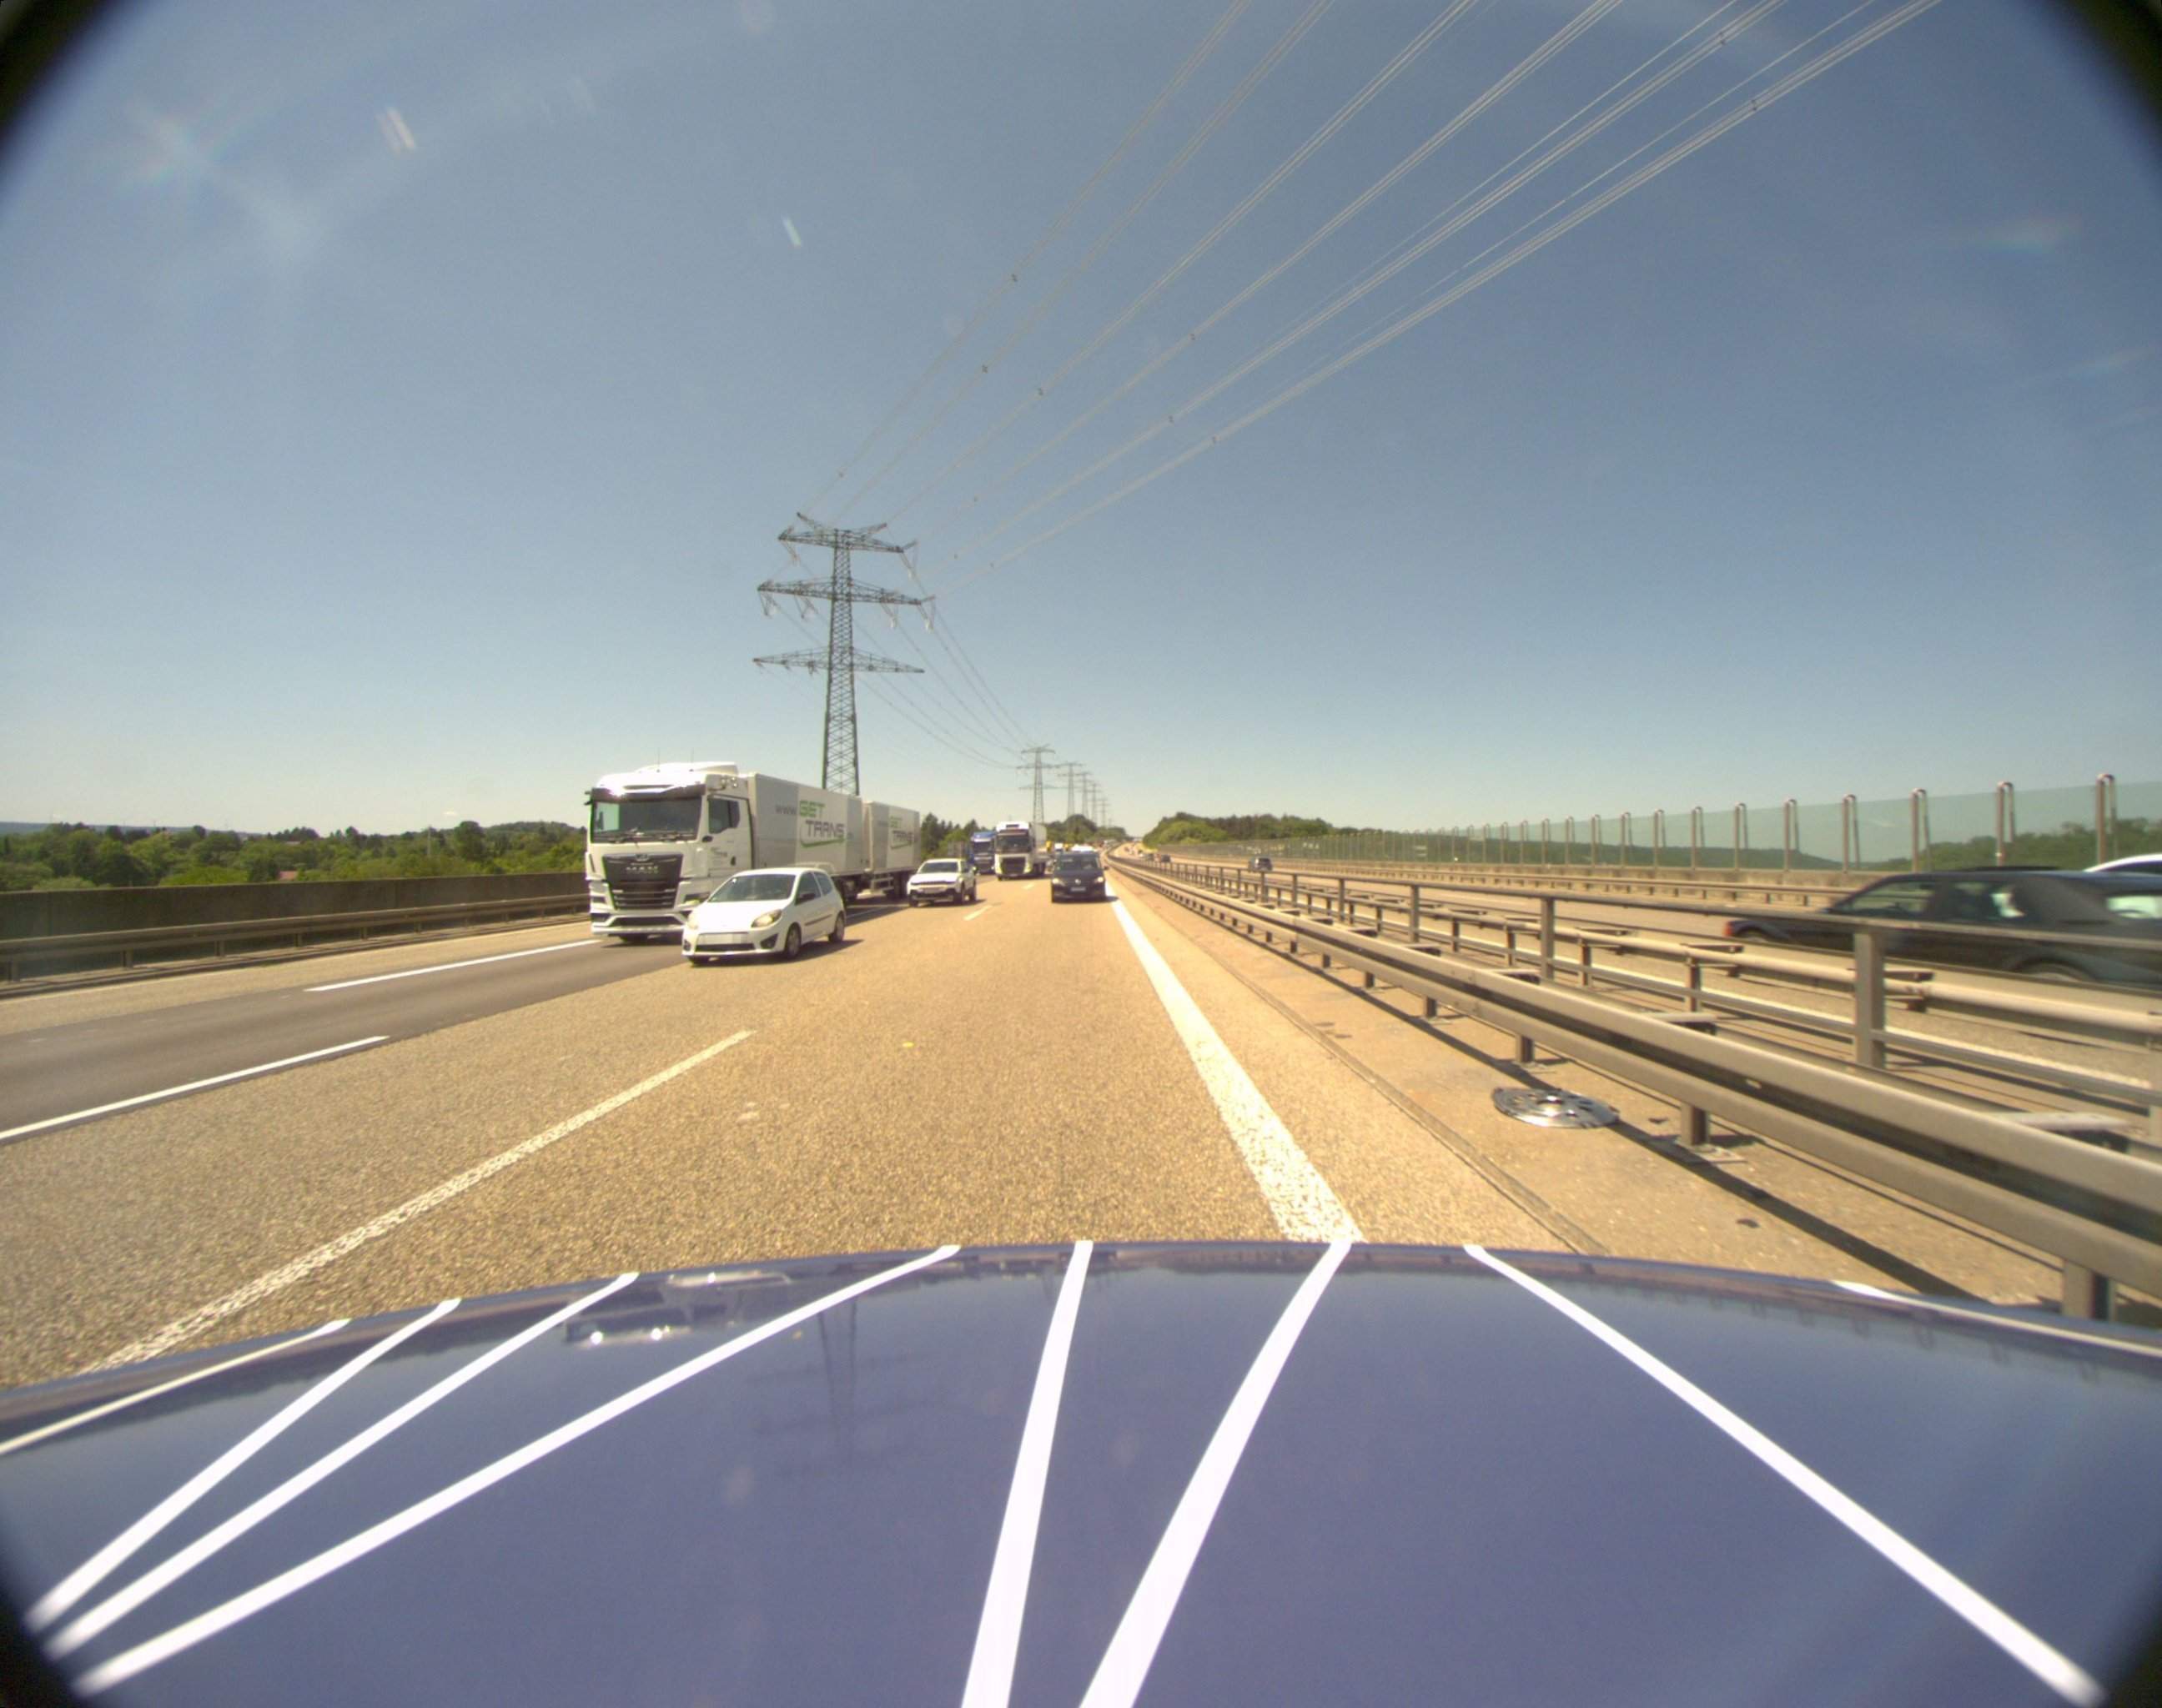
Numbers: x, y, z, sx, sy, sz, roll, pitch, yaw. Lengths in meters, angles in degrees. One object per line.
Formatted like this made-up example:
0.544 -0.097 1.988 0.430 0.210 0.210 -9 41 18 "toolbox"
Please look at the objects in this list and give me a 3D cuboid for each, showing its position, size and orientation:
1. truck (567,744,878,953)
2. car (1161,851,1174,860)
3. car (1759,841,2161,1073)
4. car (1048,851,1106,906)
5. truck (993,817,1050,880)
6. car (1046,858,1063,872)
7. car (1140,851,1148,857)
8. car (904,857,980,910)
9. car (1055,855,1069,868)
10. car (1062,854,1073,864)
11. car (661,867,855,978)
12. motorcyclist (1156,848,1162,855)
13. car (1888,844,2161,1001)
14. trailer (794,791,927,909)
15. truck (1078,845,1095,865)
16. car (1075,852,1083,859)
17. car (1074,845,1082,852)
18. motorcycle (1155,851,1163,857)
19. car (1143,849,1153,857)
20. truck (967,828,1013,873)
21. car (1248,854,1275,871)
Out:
-8.390 -0.116 20.252 2.695 3.907 11.296 -2 0 0 "truck"
14.543 0.256 127.746 1.765 1.312 4.270 1 1 0 "car"
8.492 0.706 6.510 1.796 1.563 3.999 -2 1 1 "car"
-0.083 0.751 25.396 1.748 1.569 4.000 -2 1 1 "car"
-4.202 -0.370 57.010 2.717 4.015 14.256 -2 0 1 "truck"
-3.241 1.296 93.202 1.821 1.569 3.999 -2 1 0 "car"
16.400 0.033 198.417 1.735 1.481 4.124 -2 1 0 "car"
-4.639 0.938 25.897 1.776 1.521 3.851 -2 1 1 "car"
-2.693 1.062 109.255 1.821 1.569 3.999 -2 1 0 "car"
-2.298 0.769 130.159 1.821 1.569 3.999 -2 1 0 "car"
-5.335 1.045 13.121 1.659 1.501 3.825 -2 0 0 "car"
20.925 -0.627 204.189 1.379 1.675 1.133 -2 1 -1 "motorcyclist"
12.466 0.730 8.716 1.753 1.686 4.384 0 1 1 "car"
-8.318 -0.152 29.840 2.752 3.918 7.773 -2 0 0 "trailer"
0.844 0.065 113.351 2.309 2.789 5.109 -2 1 1 "truck"
-0.580 0.249 181.553 1.821 1.569 3.999 -2 1 0 "car"
-0.881 -1.616 219.484 1.998 2.002 3.999 -2 1 0 "car"
20.981 -0.066 204.474 1.490 1.468 3.382 -2 1 -1 "motorcycle"
14.602 -0.188 166.145 1.786 1.692 4.154 0 1 0 "car"
-8.534 -0.387 72.367 2.841 3.858 11.272 -2 1 0 "truck"
16.402 0.771 69.024 1.656 1.454 3.541 0 1 1 "car"
